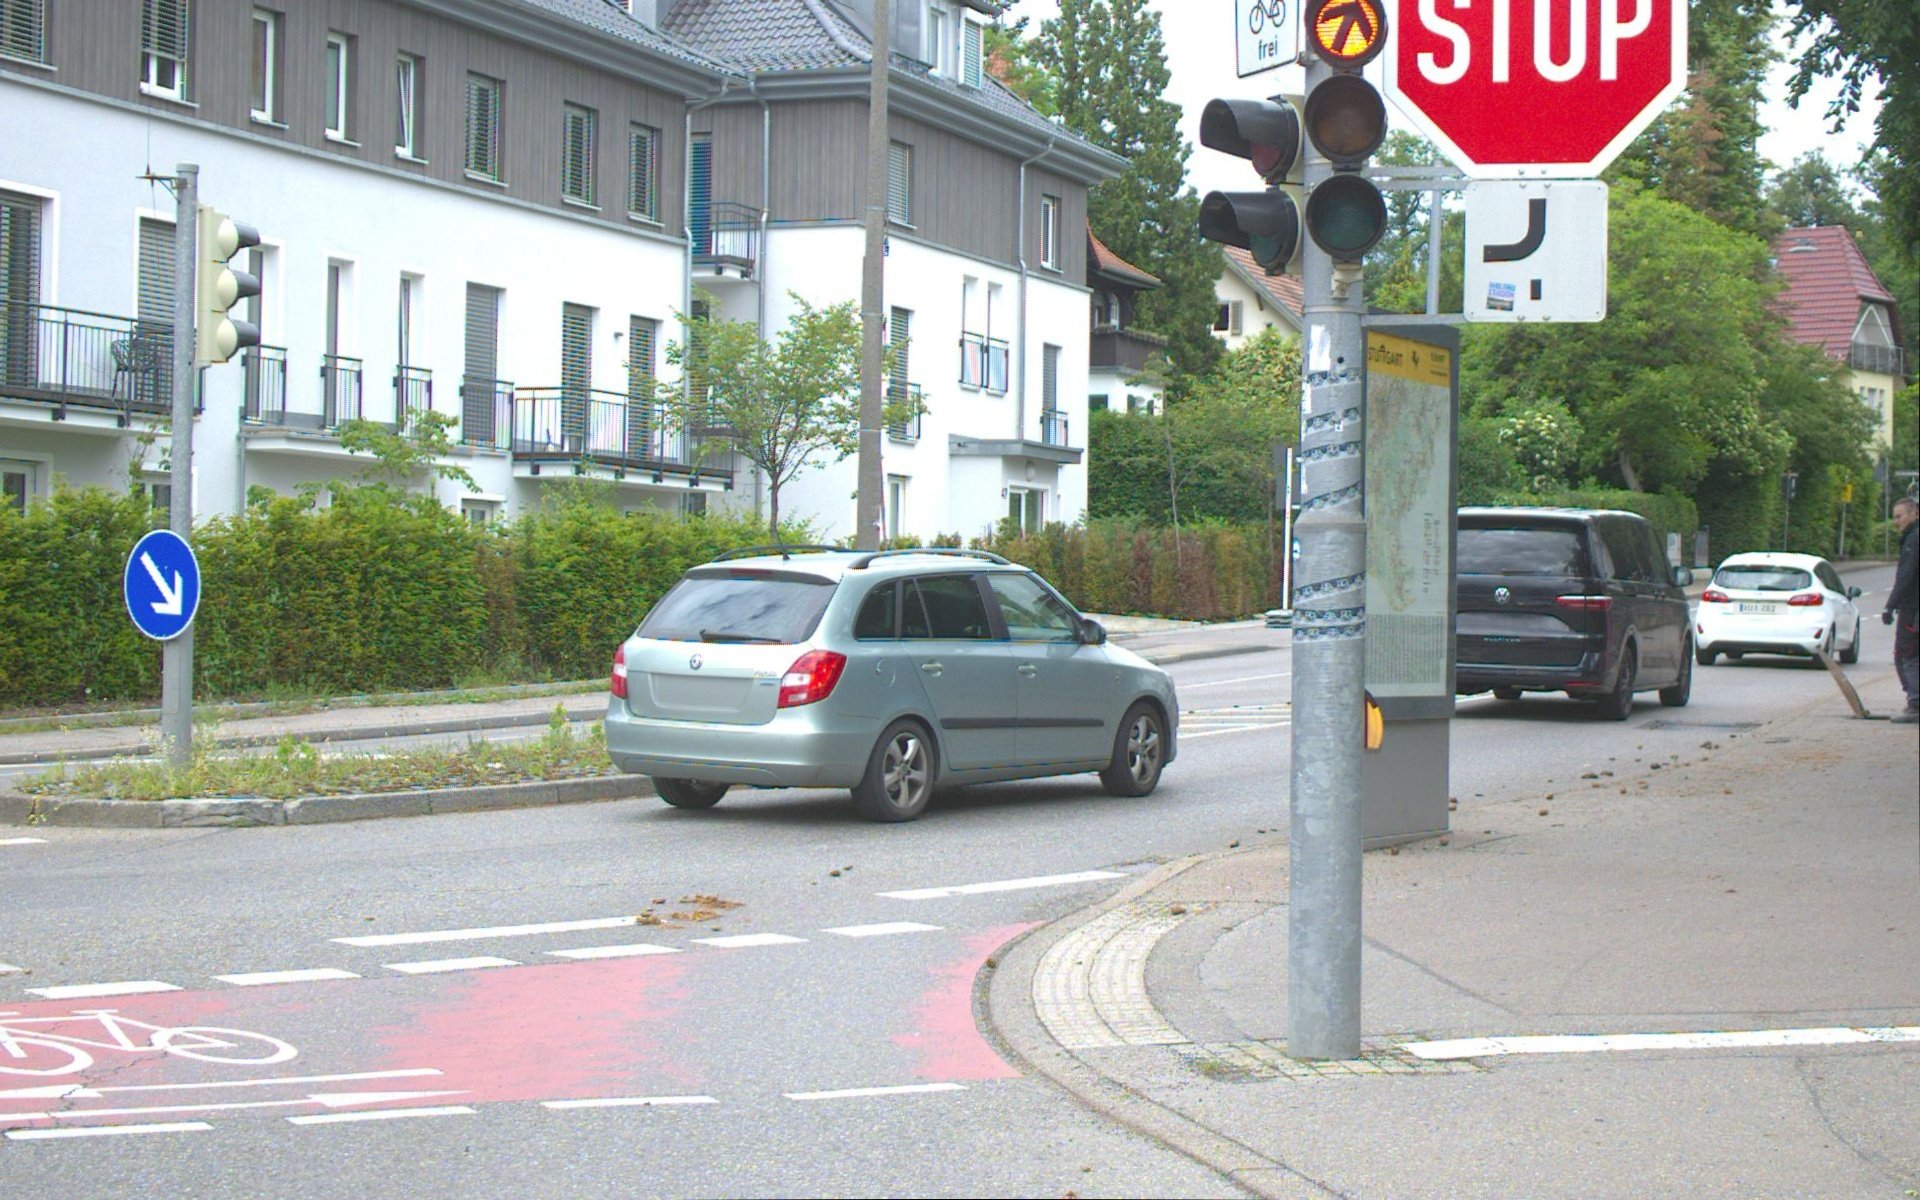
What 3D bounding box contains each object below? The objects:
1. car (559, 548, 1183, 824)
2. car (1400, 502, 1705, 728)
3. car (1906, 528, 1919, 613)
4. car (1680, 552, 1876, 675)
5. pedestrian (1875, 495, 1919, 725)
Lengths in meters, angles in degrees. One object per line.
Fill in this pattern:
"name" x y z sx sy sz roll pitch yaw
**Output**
"car" -0.422 0.427 19.929 1.697 1.425 3.741 0 1 35
"car" 5.639 0.085 32.208 1.921 1.887 4.903 2 2 20
"car" 22.025 -0.622 75.501 1.941 1.819 4.074 2 2 21
"car" 10.686 0.132 44.740 1.843 1.454 4.073 3 2 22
"pedestrian" 8.024 0.084 28.693 0.596 1.900 0.558 1 0 -1
